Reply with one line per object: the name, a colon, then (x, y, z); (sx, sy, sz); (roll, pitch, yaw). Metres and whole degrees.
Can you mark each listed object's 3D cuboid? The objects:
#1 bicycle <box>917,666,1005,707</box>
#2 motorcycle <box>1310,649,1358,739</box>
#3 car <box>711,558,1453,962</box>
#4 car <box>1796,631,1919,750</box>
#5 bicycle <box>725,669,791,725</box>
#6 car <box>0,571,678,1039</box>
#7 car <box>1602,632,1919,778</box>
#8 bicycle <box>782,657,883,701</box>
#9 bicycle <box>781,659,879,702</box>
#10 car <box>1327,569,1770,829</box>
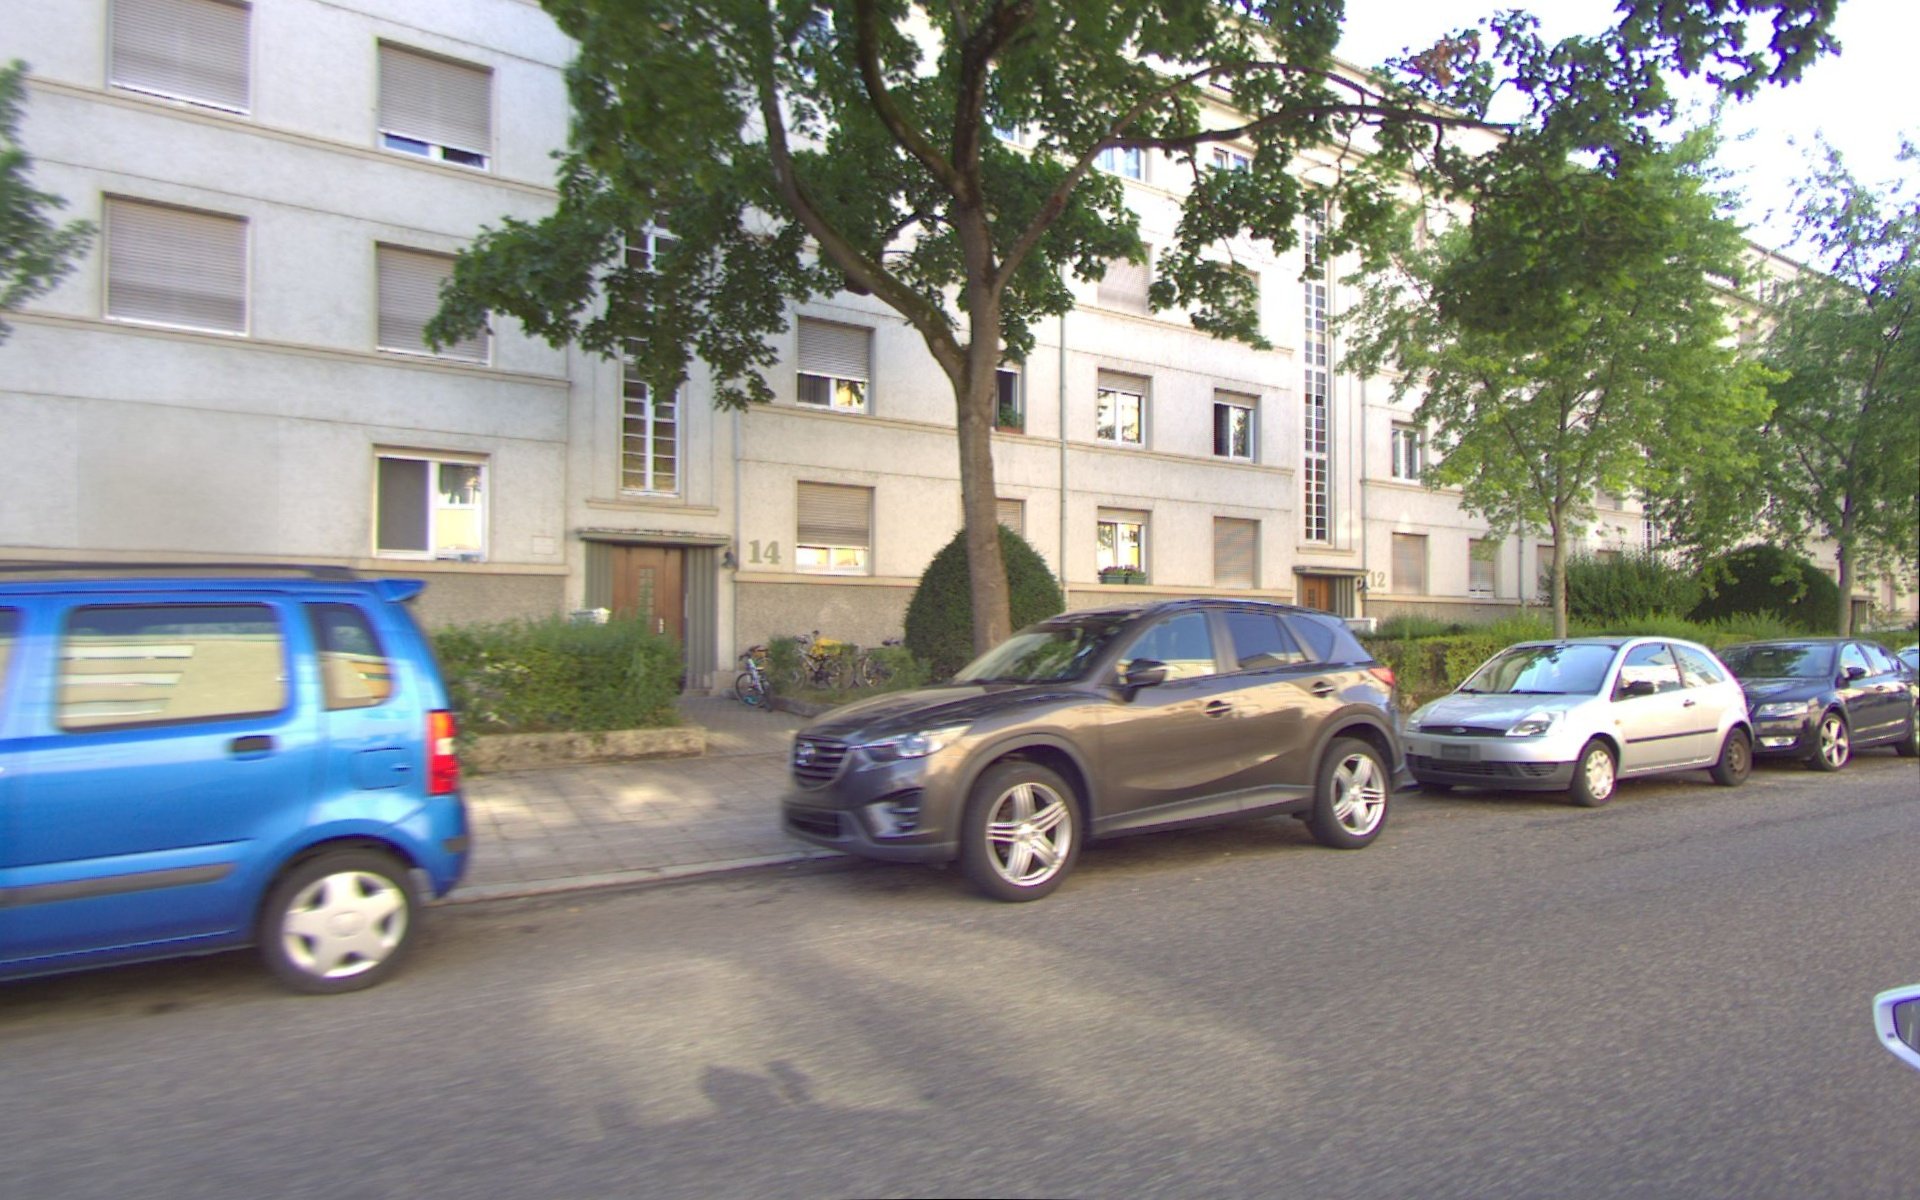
bicycle: (0.033, 1.672, 19.566); (1.768, 0.718, 0.406); (2, -1, -32)
motorcycle: (5.411, 1.332, 14.503); (0.565, 1.194, 1.262); (1, -1, 24)
car: (0.939, 0.841, 6.523); (4.638, 1.781, 1.864); (2, -6, -33)
car: (14.620, 1.285, 14.935); (4.419, 1.572, 1.995); (2, -1, -30)
bicycle: (-3.095, 1.455, 15.302); (0.405, 0.718, 1.773); (1, -1, -31)
car: (-3.460, 0.701, 4.331); (3.956, 1.572, 1.863); (2, -1, -32)
car: (9.989, 1.171, 12.170); (4.751, 1.452, 1.864); (2, -4, -33)
bicycle: (-2.232, 1.386, 17.730); (1.768, 0.718, 0.406); (2, -1, -32)
bicycle: (-2.371, 1.465, 18.432); (1.768, 0.718, 0.406); (2, -1, -32)
car: (5.759, 0.900, 9.800); (3.953, 2.039, 1.985); (2, -5, -30)
